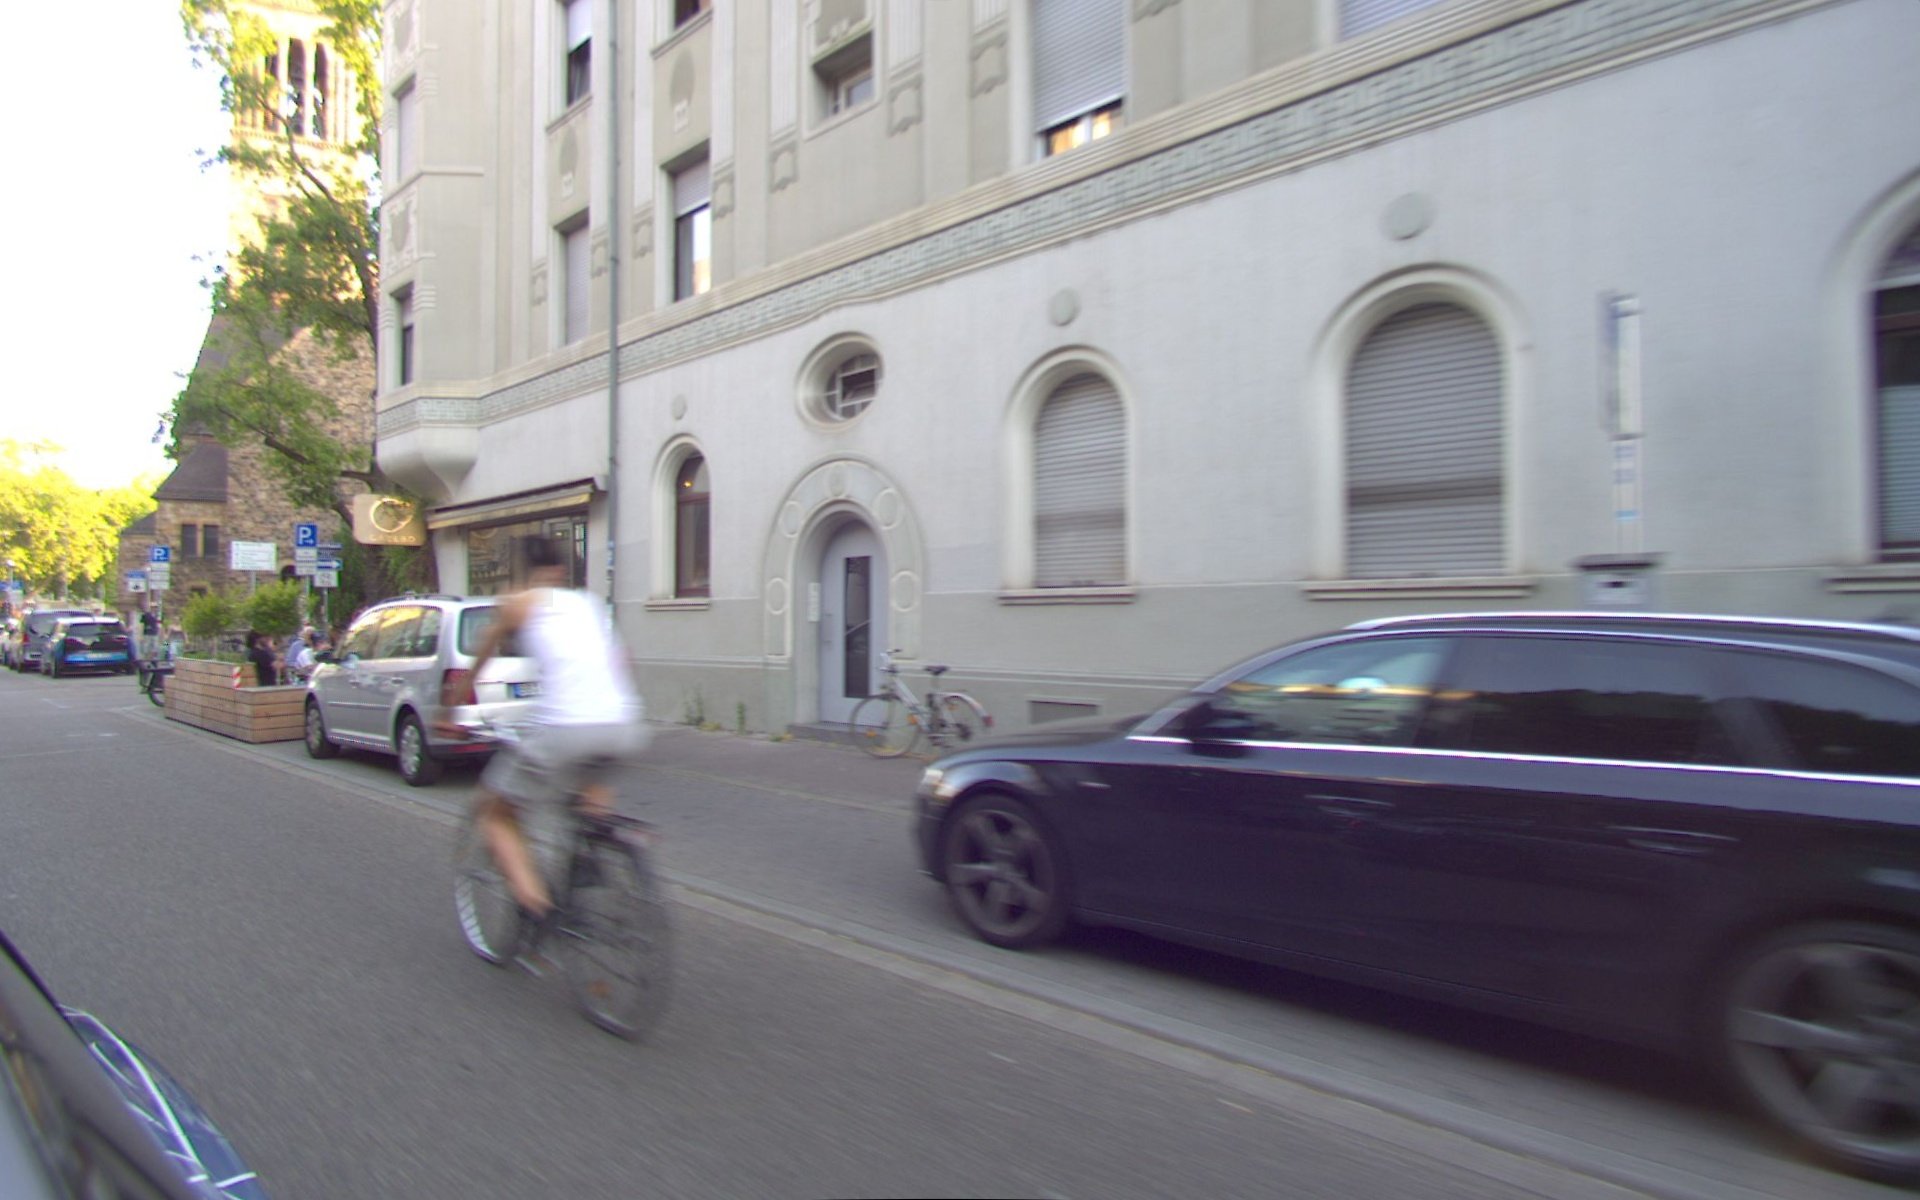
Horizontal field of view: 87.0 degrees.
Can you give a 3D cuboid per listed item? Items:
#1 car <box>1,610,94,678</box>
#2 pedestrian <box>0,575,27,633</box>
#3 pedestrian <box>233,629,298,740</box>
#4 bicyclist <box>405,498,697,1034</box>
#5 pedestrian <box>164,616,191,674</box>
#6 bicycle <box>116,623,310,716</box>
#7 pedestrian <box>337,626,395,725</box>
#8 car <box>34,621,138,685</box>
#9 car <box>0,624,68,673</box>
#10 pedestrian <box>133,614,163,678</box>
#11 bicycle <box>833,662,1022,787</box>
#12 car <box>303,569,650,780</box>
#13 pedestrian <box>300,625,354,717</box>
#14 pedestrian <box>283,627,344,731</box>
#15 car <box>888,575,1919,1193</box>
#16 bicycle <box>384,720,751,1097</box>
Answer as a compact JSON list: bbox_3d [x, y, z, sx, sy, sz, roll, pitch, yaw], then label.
[{"bbox_3d":[-27.716,1.258,30.687,4.458,1.885,1.762,-1,0,44],"label":"car"},{"bbox_3d":[-45.816,0.186,48.568,1.011,2.761,1.427,-1,0,41],"label":"pedestrian"},{"bbox_3d":[-8.775,1.047,12.797,0.496,1.333,0.564,-1,0,41],"label":"pedestrian"},{"bbox_3d":[-1.545,0.531,3.786,1.003,1.705,0.616,-1,0,41],"label":"bicyclist"},{"bbox_3d":[-22.398,1.276,28.978,0.562,1.618,0.501,-1,0,41],"label":"pedestrian"},{"bbox_3d":[-12.478,1.124,17.015,2.580,1.409,0.603,-1,0,-35],"label":"bicycle"},{"bbox_3d":[-8.299,1.040,14.153,0.496,1.333,0.564,-1,0,41],"label":"pedestrian"},{"bbox_3d":[-23.835,1.372,27.555,4.001,1.558,1.762,-1,0,44],"label":"car"},{"bbox_3d":[-33.014,1.657,35.749,3.998,1.558,1.763,-1,0,41],"label":"car"},{"bbox_3d":[-22.771,1.281,28.393,0.562,1.746,0.559,-1,0,41],"label":"pedestrian"},{"bbox_3d":[-0.337,1.079,9.187,1.895,0.951,0.471,-1,0,41],"label":"bicycle"},{"bbox_3d":[-4.849,0.615,9.901,3.916,1.660,1.707,-2,-1,42],"label":"car"},{"bbox_3d":[-9.518,1.056,15.213,0.496,1.333,0.564,-1,0,41],"label":"pedestrian"},{"bbox_3d":[-8.717,1.046,13.647,0.496,1.333,0.564,-1,0,41],"label":"pedestrian"},{"bbox_3d":[1.971,0.694,3.880,4.479,1.441,1.907,-2,-2,41],"label":"car"},{"bbox_3d":[-1.571,1.019,3.838,1.895,0.951,0.471,-1,0,41],"label":"bicycle"}]
